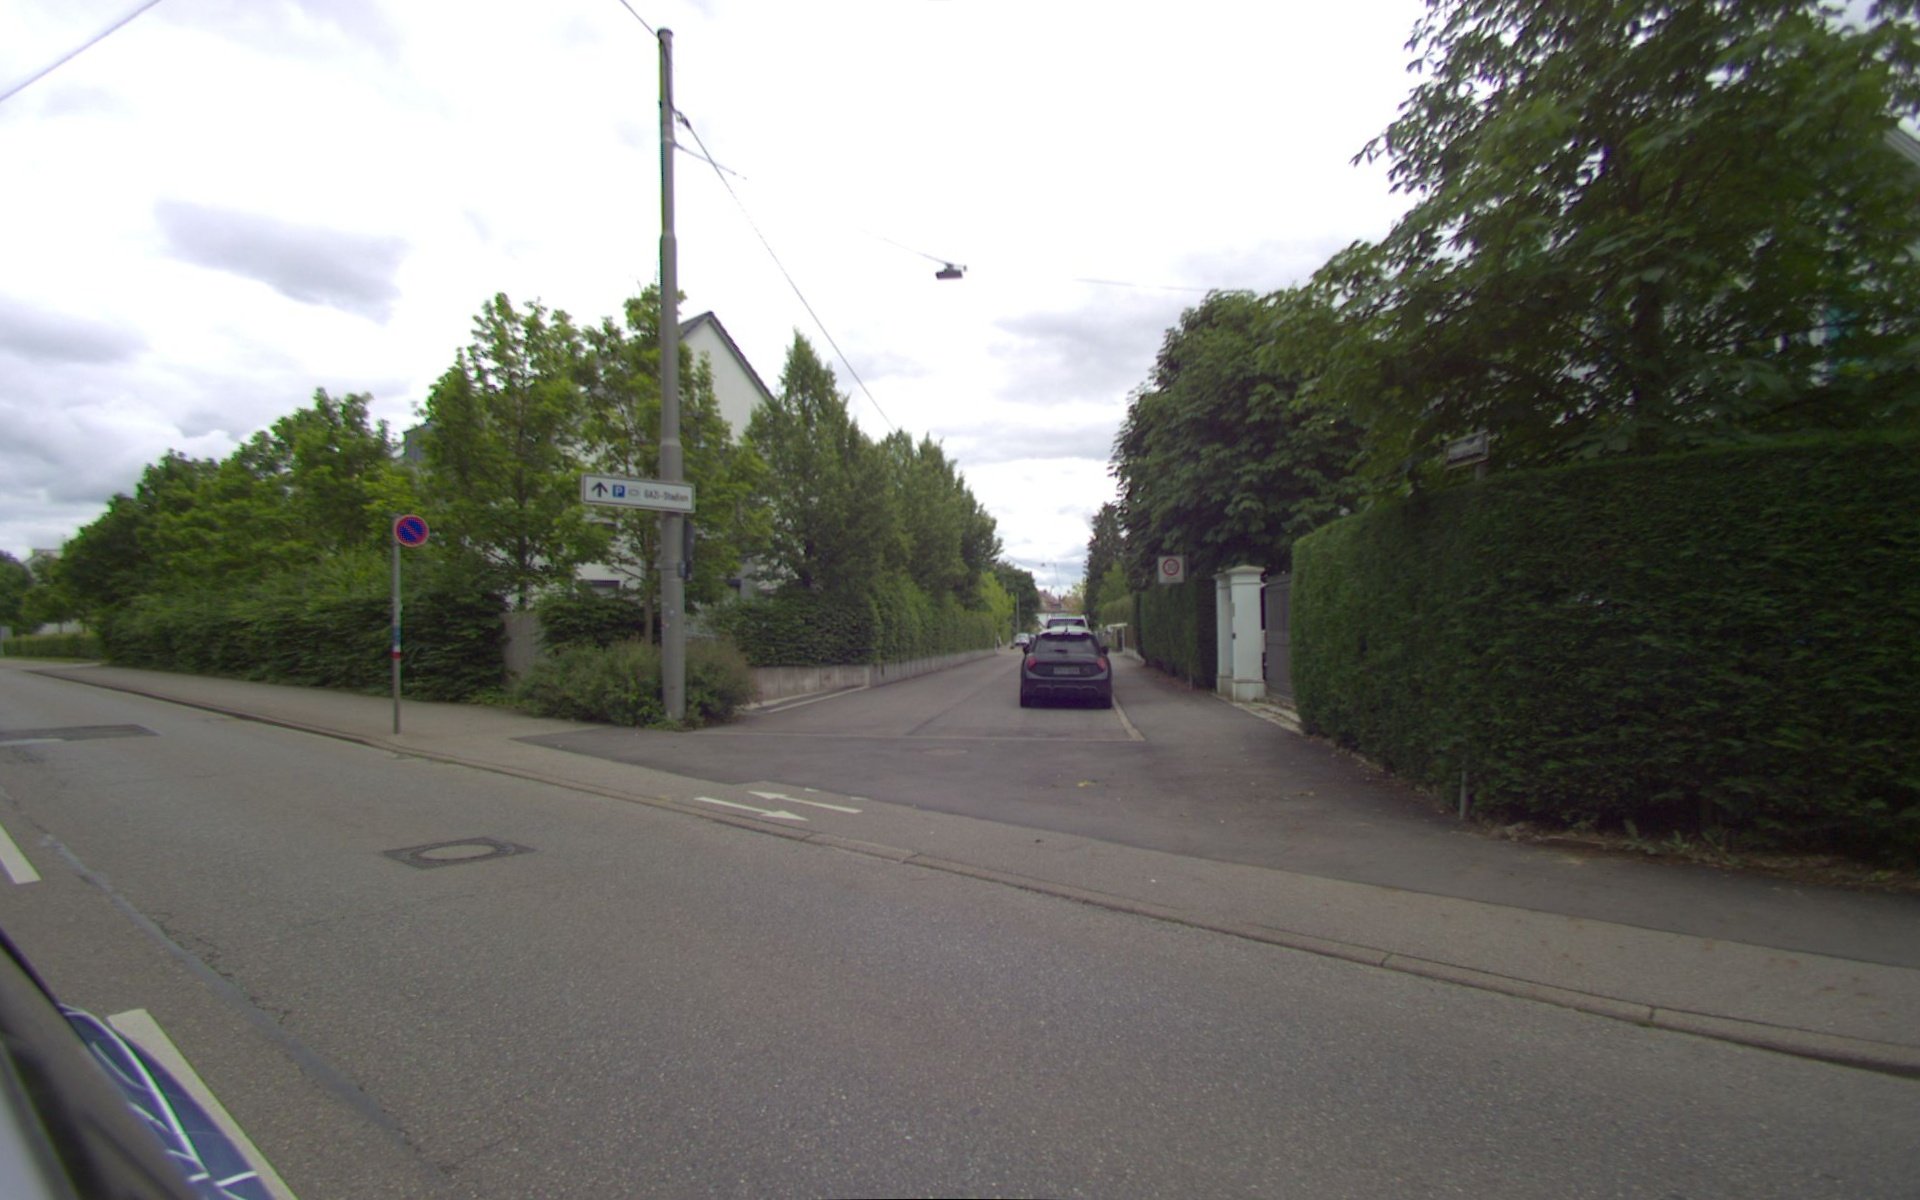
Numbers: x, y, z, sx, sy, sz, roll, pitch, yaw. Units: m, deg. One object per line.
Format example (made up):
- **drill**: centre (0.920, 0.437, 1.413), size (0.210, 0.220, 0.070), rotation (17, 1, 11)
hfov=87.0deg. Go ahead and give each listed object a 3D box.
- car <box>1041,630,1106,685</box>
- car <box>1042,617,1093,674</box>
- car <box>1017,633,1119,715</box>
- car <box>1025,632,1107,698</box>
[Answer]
- **car**: centre (3.376, 1.672, 30.343), size (1.786, 1.534, 3.993), rotation (-1, -2, 6)
- **car**: centre (4.171, 1.708, 38.872), size (1.843, 2.071, 3.990), rotation (-1, -2, 8)
- **car**: centre (2.093, 1.374, 19.858), size (1.786, 1.431, 3.993), rotation (-1, -2, 6)
- **car**: centre (2.538, 1.511, 24.369), size (1.786, 1.431, 3.993), rotation (-1, -2, 6)
